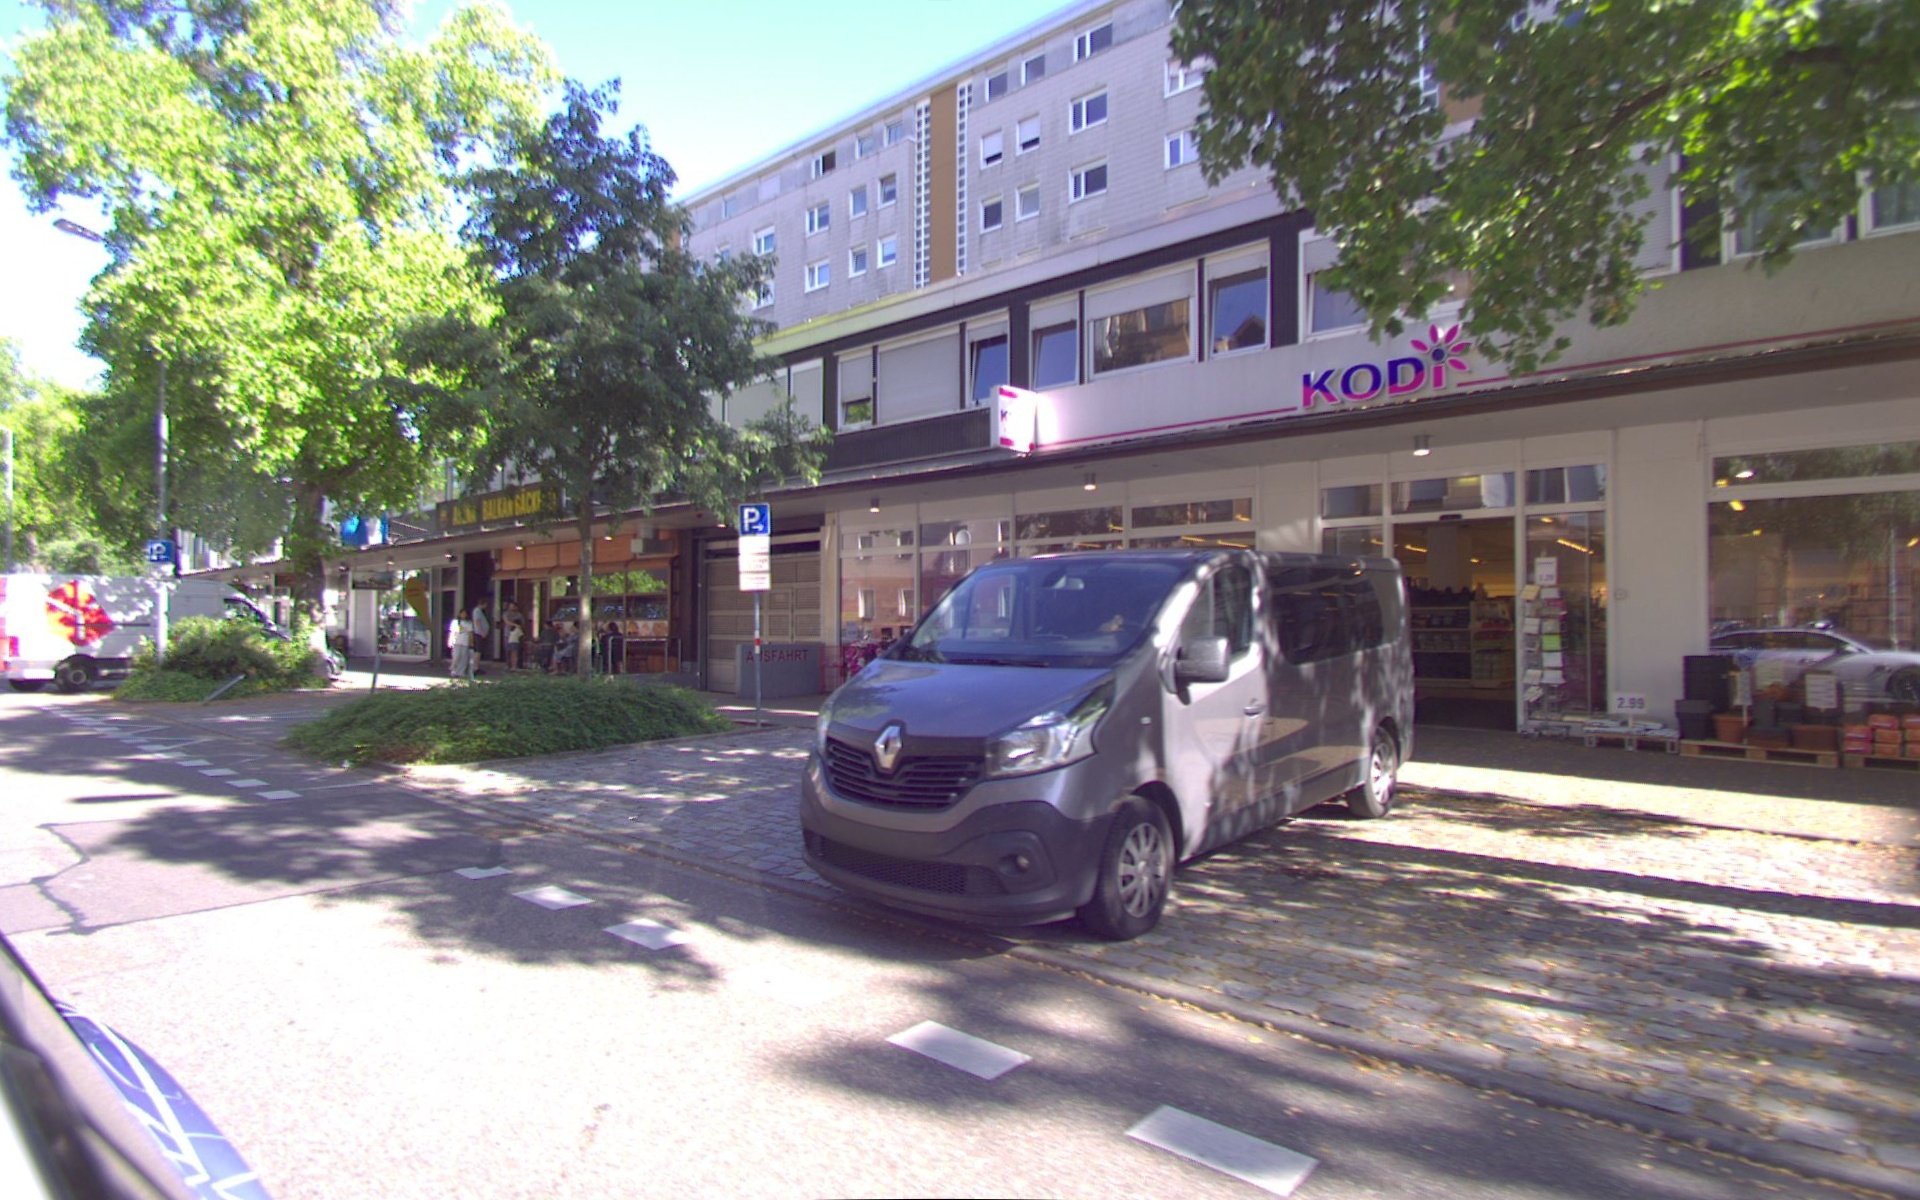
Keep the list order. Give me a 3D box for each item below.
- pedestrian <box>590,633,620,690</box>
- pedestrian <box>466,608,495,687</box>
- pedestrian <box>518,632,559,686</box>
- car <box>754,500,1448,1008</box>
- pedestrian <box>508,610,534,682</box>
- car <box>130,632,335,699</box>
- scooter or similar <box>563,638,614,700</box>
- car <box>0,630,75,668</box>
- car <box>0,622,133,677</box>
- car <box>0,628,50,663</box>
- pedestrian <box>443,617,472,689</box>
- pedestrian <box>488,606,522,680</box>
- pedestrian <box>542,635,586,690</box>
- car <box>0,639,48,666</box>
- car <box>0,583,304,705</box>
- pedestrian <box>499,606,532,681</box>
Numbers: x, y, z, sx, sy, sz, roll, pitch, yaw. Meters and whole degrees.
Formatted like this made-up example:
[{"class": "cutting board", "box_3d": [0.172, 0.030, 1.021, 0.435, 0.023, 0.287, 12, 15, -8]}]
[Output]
[{"class": "pedestrian", "box_3d": [-7.975, 1.369, 22.717, 0.636, 1.250, 0.325, -2, -3, 38]}, {"class": "pedestrian", "box_3d": [-12.088, 1.188, 25.511, 0.590, 1.950, 0.589, 1, -3, -28]}, {"class": "pedestrian", "box_3d": [-10.775, 1.492, 25.863, 0.953, 1.351, 0.558, -2, -2, 39]}, {"class": "car", "box_3d": [1.375, 0.660, 6.638, 2.014, 1.989, 5.238, -2, -2, 40]}, {"class": "pedestrian", "box_3d": [-11.879, 1.229, 27.391, 0.492, 1.918, 0.448, -2, -2, 39]}, {"class": "car", "box_3d": [-16.951, 1.474, 23.684, 1.830, 1.431, 3.557, -2, -2, 40]}, {"class": "scooter or similar", "box_3d": [-7.840, 1.448, 21.405, 0.452, 1.233, 1.315, 0, -1, 7]}, {"class": "car", "box_3d": [-47.330, 2.434, 50.352, 1.872, 1.791, 4.721, -2, -2, 39]}, {"class": "car", "box_3d": [-34.567, 1.849, 38.189, 1.871, 1.953, 4.979, -2, -2, 40]}, {"class": "car", "box_3d": [-56.088, 2.656, 58.505, 1.908, 1.985, 4.933, -2, -2, 39]}, {"class": "pedestrian", "box_3d": [-12.248, 1.276, 24.653, 0.590, 1.725, 0.589, 1, -3, -28]}, {"class": "pedestrian", "box_3d": [-11.996, 1.123, 26.677, 0.578, 1.918, 0.588, -2, -4, 39]}, {"class": "pedestrian", "box_3d": [-9.451, 1.485, 24.172, 0.897, 1.273, 0.602, -2, -3, 38]}, {"class": "car", "box_3d": [-49.386, 2.677, 51.680, 1.758, 1.409, 3.947, -2, -3, 39]}, {"class": "car", "box_3d": [-19.435, 1.004, 24.085, 1.985, 2.493, 6.560, -1, -2, 19]}, {"class": "pedestrian", "box_3d": [-11.536, 1.129, 26.280, 0.579, 1.918, 0.588, -2, -2, 39]}]
